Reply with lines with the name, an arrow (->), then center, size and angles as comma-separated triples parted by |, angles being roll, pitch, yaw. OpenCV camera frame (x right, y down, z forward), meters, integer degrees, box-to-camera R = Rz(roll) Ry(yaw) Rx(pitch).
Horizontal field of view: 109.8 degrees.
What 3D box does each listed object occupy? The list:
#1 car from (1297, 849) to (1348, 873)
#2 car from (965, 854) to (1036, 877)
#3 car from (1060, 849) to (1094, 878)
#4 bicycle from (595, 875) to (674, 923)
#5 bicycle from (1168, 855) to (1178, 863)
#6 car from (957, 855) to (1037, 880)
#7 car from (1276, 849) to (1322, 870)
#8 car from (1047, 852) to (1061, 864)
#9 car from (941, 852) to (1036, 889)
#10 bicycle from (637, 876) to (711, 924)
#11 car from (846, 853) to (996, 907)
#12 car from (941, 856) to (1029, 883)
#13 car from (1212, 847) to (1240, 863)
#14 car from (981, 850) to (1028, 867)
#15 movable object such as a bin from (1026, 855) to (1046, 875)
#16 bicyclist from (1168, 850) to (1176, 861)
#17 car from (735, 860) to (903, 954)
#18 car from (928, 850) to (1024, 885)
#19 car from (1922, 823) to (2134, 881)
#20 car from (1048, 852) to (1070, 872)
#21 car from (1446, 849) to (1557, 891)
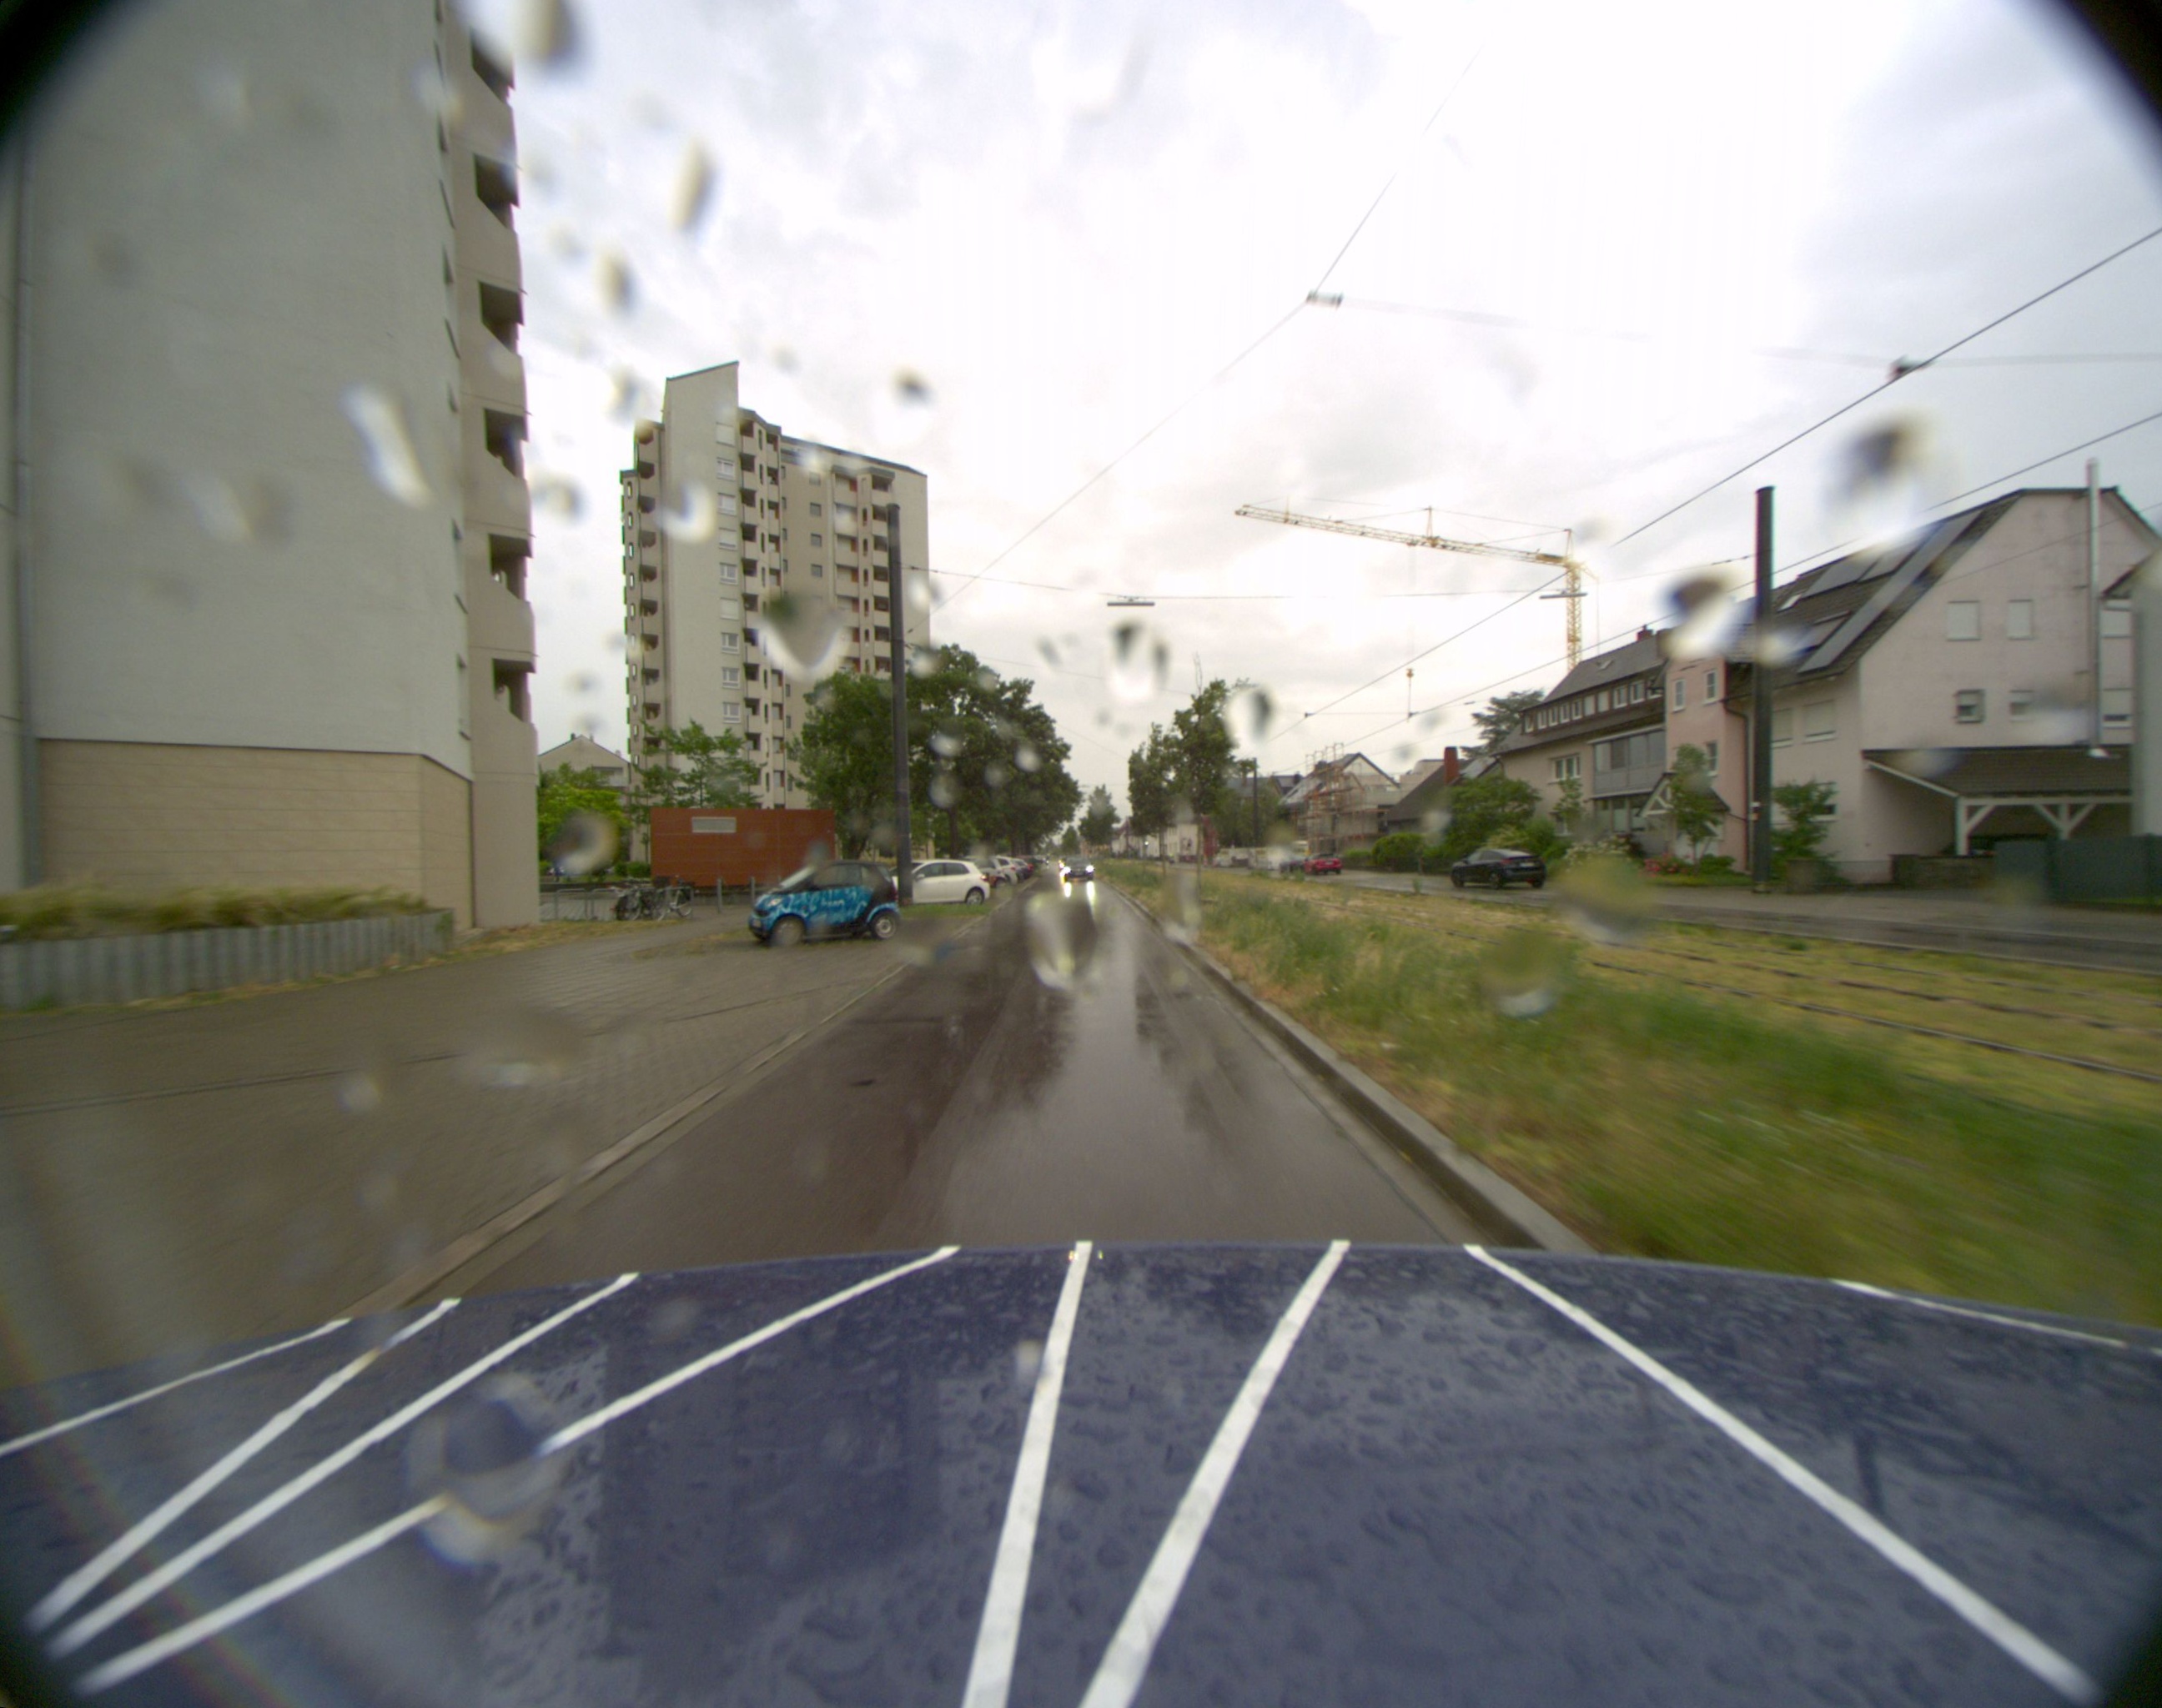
car -> 15.901, 0.439, 50.262 | 1.999, 1.365, 3.842 | -2, 1, -2
car -> -5.397, 0.795, 51.195 | 4.470, 1.456, 1.815 | 2, -1, -35
car -> -0.245, 0.581, 47.992 | 1.999, 1.611, 3.999 | -2, 1, -1
bicycle -> -10.954, 1.079, 18.721 | 0.663, 1.000, 2.058 | -2, 1, 0
bicycle -> 13.574, 0.721, 112.102 | 0.937, 1.037, 3.433 | -1, 0, -2
car -> -4.966, 0.807, 45.183 | 4.470, 1.419, 1.680 | 2, -1, -34
car -> 15.819, 0.401, 55.294 | 1.999, 1.401, 4.174 | -2, -1, -2
car -> -4.365, 0.646, 123.565 | 1.998, 1.696, 3.999 | -2, 1, 1
car -> -4.371, 0.792, 36.118 | 4.194, 1.661, 1.680 | 2, -1, -37
bicycle -> -9.994, 1.101, 18.734 | 0.663, 1.000, 2.058 | -2, 1, 0
car -> -4.929, 0.796, 23.722 | 4.195, 1.538, 1.760 | 2, -1, -40
car -> -5.251, 0.847, 41.684 | 4.470, 1.401, 1.763 | 2, -1, -35
car -> 16.247, 0.103, 85.374 | 1.999, 1.618, 4.249 | -2, 1, -3
car -> -7.158, 0.458, 70.962 | 4.055, 1.479, 1.720 | 2, -1, -36
movable object such as a bin -> -3.593, 0.863, 60.902 | 1.165, 1.553, 1.372 | -3, 2, -24
bicyclist -> 13.528, 0.278, 112.478 | 0.956, 1.575, 1.400 | -2, 1, -1
car -> -4.935, 0.913, 14.387 | 2.570, 1.539, 1.598 | -1, 1, -40
car -> -5.266, 0.690, 38.464 | 4.471, 1.661, 1.808 | 2, -1, -40
car -> 27.779, -0.067, 22.387 | 3.997, 1.492, 1.841 | -2, 1, 0
car -> -2.222, 0.794, 77.020 | 1.998, 1.762, 3.999 | -2, 1, 1
car -> 16.076, 0.584, 29.296 | 1.841, 1.418, 4.174 | -2, 0, -2
